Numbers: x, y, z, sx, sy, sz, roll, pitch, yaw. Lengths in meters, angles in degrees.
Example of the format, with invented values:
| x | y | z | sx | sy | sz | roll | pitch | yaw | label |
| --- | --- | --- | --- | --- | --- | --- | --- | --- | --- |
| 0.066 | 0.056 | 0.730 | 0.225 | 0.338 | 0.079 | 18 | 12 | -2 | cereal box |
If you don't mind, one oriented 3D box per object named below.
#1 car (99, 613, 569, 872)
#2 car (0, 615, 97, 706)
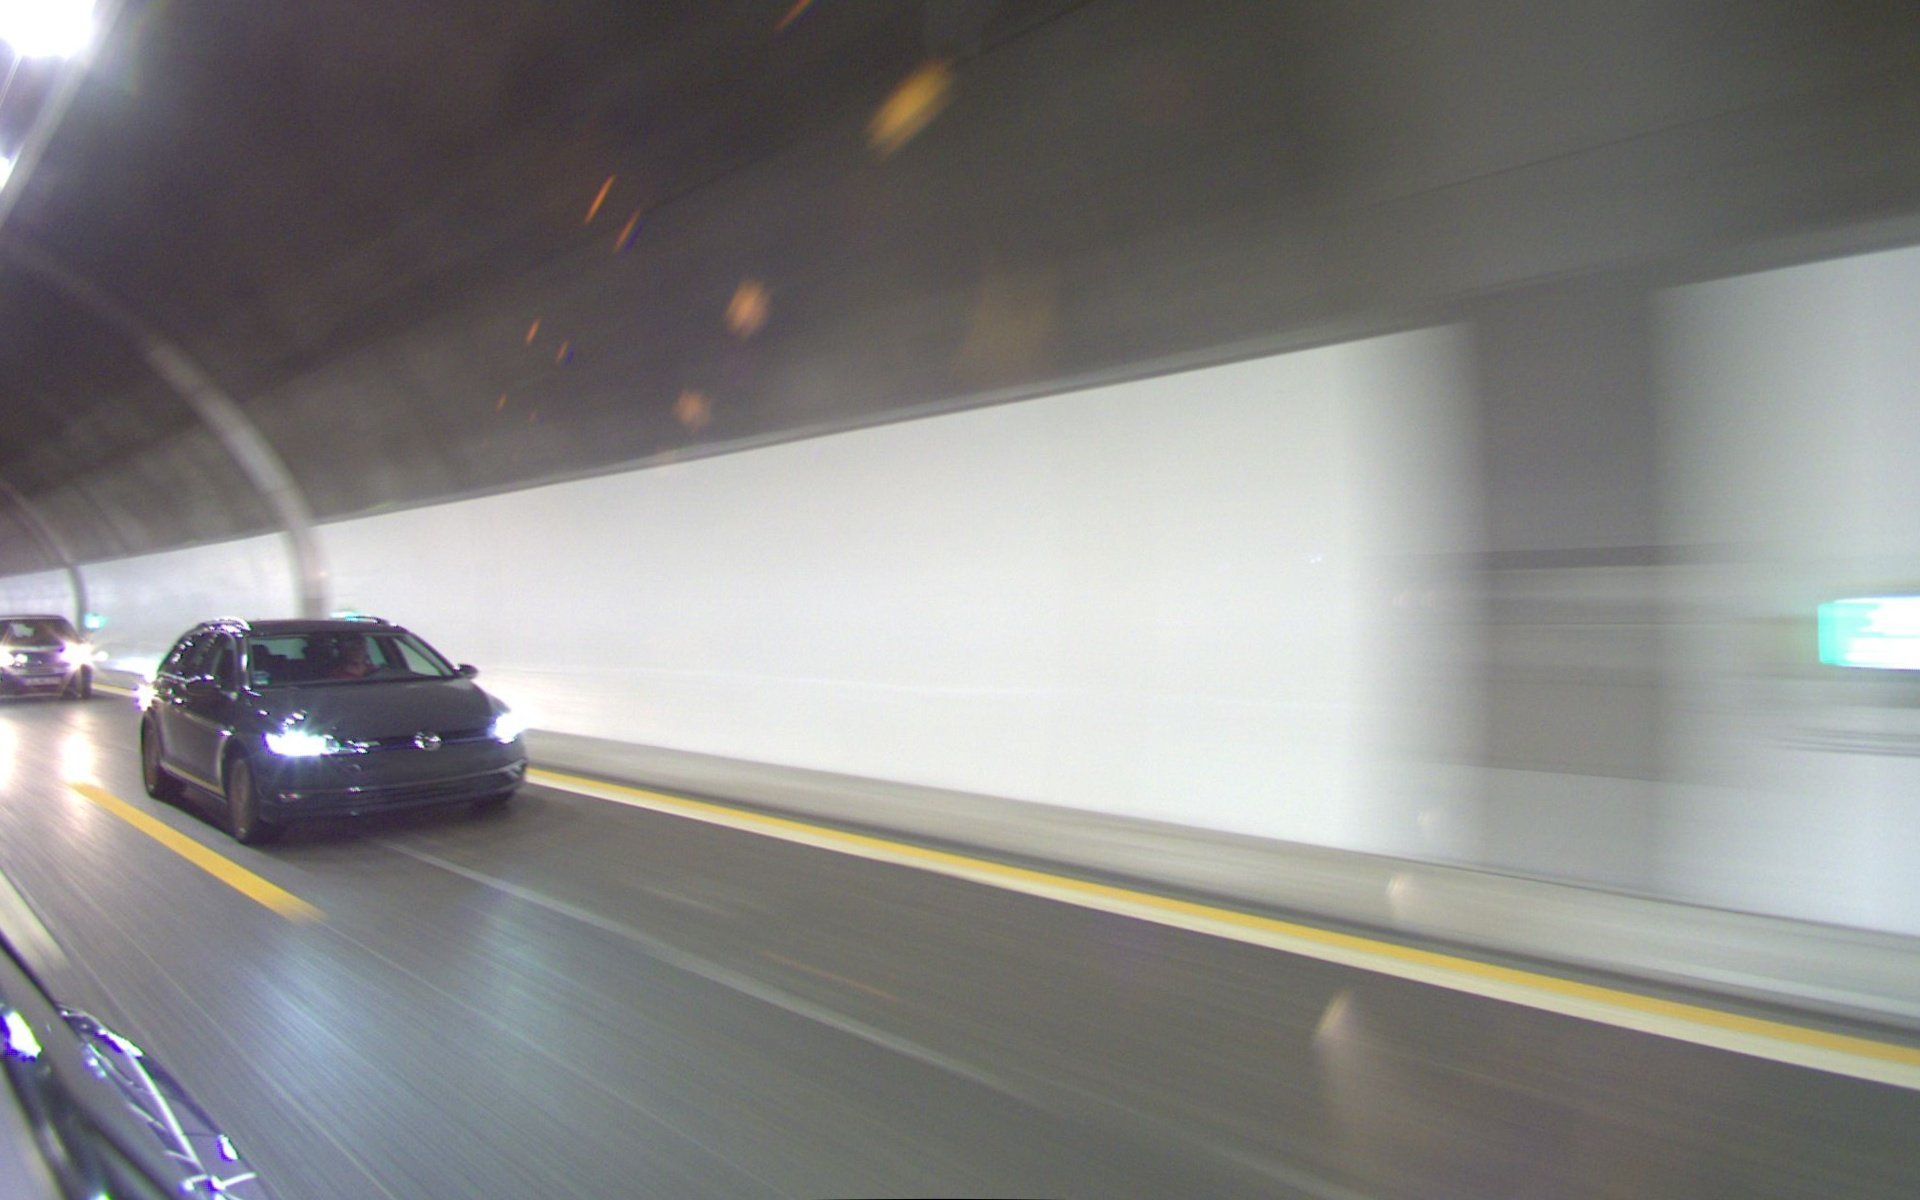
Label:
| x | y | z | sx | sy | sz | roll | pitch | yaw | label |
| --- | --- | --- | --- | --- | --- | --- | --- | --- | --- |
| -5.171 | 0.861 | 8.019 | 4.879 | 1.449 | 1.760 | -1 | -1 | 40 | car |
| -16.931 | 1.062 | 18.390 | 2.649 | 1.528 | 1.512 | -1 | -1 | 40 | car |
